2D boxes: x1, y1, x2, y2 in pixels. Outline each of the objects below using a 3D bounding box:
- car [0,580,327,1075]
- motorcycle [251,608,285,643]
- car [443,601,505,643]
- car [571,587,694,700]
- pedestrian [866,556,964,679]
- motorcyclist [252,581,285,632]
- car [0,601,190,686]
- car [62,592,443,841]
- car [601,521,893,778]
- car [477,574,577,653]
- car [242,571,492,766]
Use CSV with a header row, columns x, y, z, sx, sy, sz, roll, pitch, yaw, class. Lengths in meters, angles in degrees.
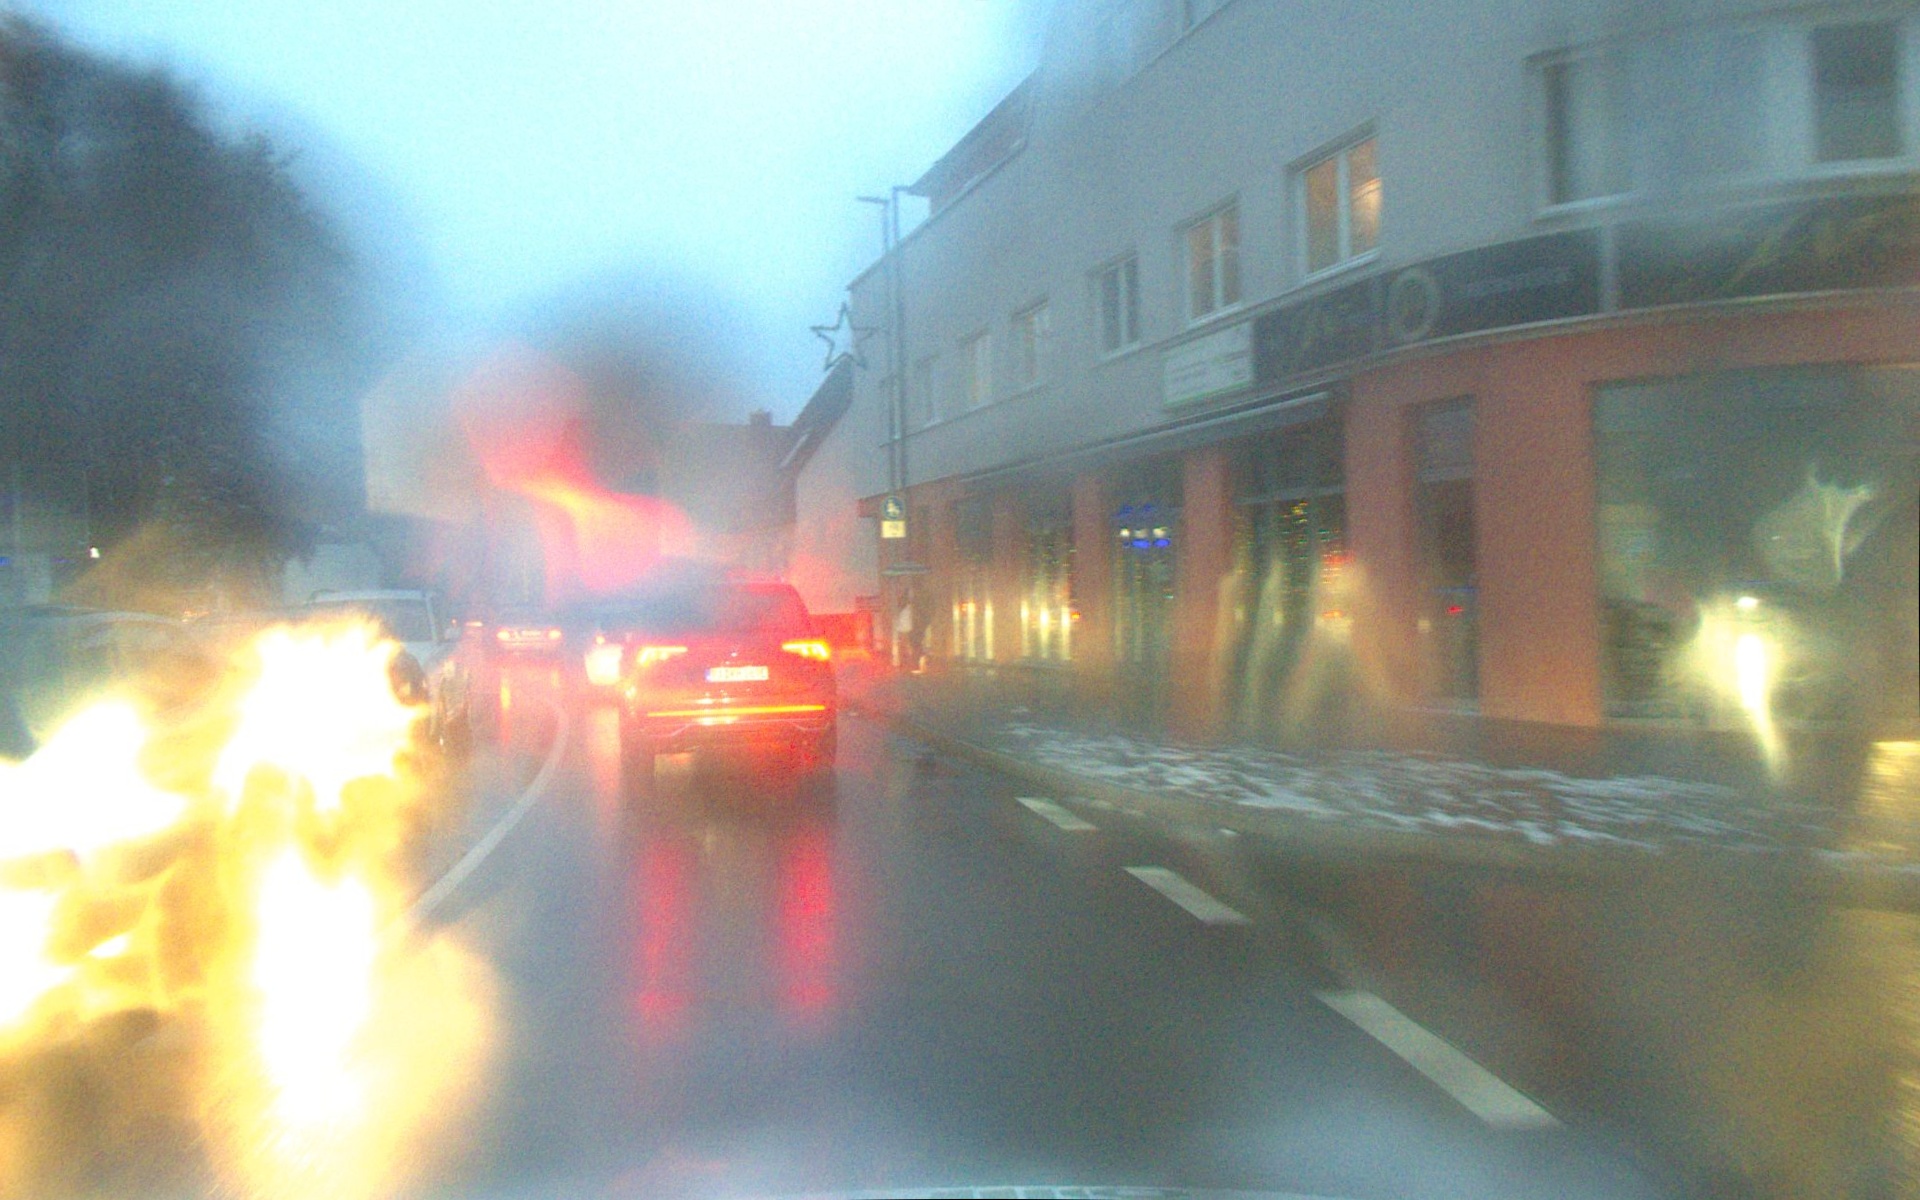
x,y,z,sx,sy,sz,roll,pitch,yaw,class
-3.898,0.712,6.465,1.631,1.512,3.995,-1,0,-6,car
-20.849,0.758,49.882,0.853,1.042,2.096,0,0,-21,motorcycle
-17.168,0.735,58.299,1.815,1.355,3.914,-2,1,-20,car
-5.409,0.639,27.020,1.826,1.676,3.986,-1,0,-13,car
-0.752,0.271,27.175,1.235,1.898,1.297,-3,1,-16,pedestrian
-20.805,0.209,49.765,0.853,1.511,0.903,0,-1,-21,motorcyclist
-18.851,0.926,35.365,4.166,1.729,1.887,2,-1,-22,car
-5.088,0.718,12.471,1.739,1.521,4.032,-1,0,-10,car
-1.824,0.393,15.754,2.263,1.972,5.015,-2,0,-3,car
-11.885,0.364,45.195,2.275,1.972,4.991,-2,0,-19,car
-6.075,0.614,17.426,1.739,1.753,4.410,-1,0,-10,car
